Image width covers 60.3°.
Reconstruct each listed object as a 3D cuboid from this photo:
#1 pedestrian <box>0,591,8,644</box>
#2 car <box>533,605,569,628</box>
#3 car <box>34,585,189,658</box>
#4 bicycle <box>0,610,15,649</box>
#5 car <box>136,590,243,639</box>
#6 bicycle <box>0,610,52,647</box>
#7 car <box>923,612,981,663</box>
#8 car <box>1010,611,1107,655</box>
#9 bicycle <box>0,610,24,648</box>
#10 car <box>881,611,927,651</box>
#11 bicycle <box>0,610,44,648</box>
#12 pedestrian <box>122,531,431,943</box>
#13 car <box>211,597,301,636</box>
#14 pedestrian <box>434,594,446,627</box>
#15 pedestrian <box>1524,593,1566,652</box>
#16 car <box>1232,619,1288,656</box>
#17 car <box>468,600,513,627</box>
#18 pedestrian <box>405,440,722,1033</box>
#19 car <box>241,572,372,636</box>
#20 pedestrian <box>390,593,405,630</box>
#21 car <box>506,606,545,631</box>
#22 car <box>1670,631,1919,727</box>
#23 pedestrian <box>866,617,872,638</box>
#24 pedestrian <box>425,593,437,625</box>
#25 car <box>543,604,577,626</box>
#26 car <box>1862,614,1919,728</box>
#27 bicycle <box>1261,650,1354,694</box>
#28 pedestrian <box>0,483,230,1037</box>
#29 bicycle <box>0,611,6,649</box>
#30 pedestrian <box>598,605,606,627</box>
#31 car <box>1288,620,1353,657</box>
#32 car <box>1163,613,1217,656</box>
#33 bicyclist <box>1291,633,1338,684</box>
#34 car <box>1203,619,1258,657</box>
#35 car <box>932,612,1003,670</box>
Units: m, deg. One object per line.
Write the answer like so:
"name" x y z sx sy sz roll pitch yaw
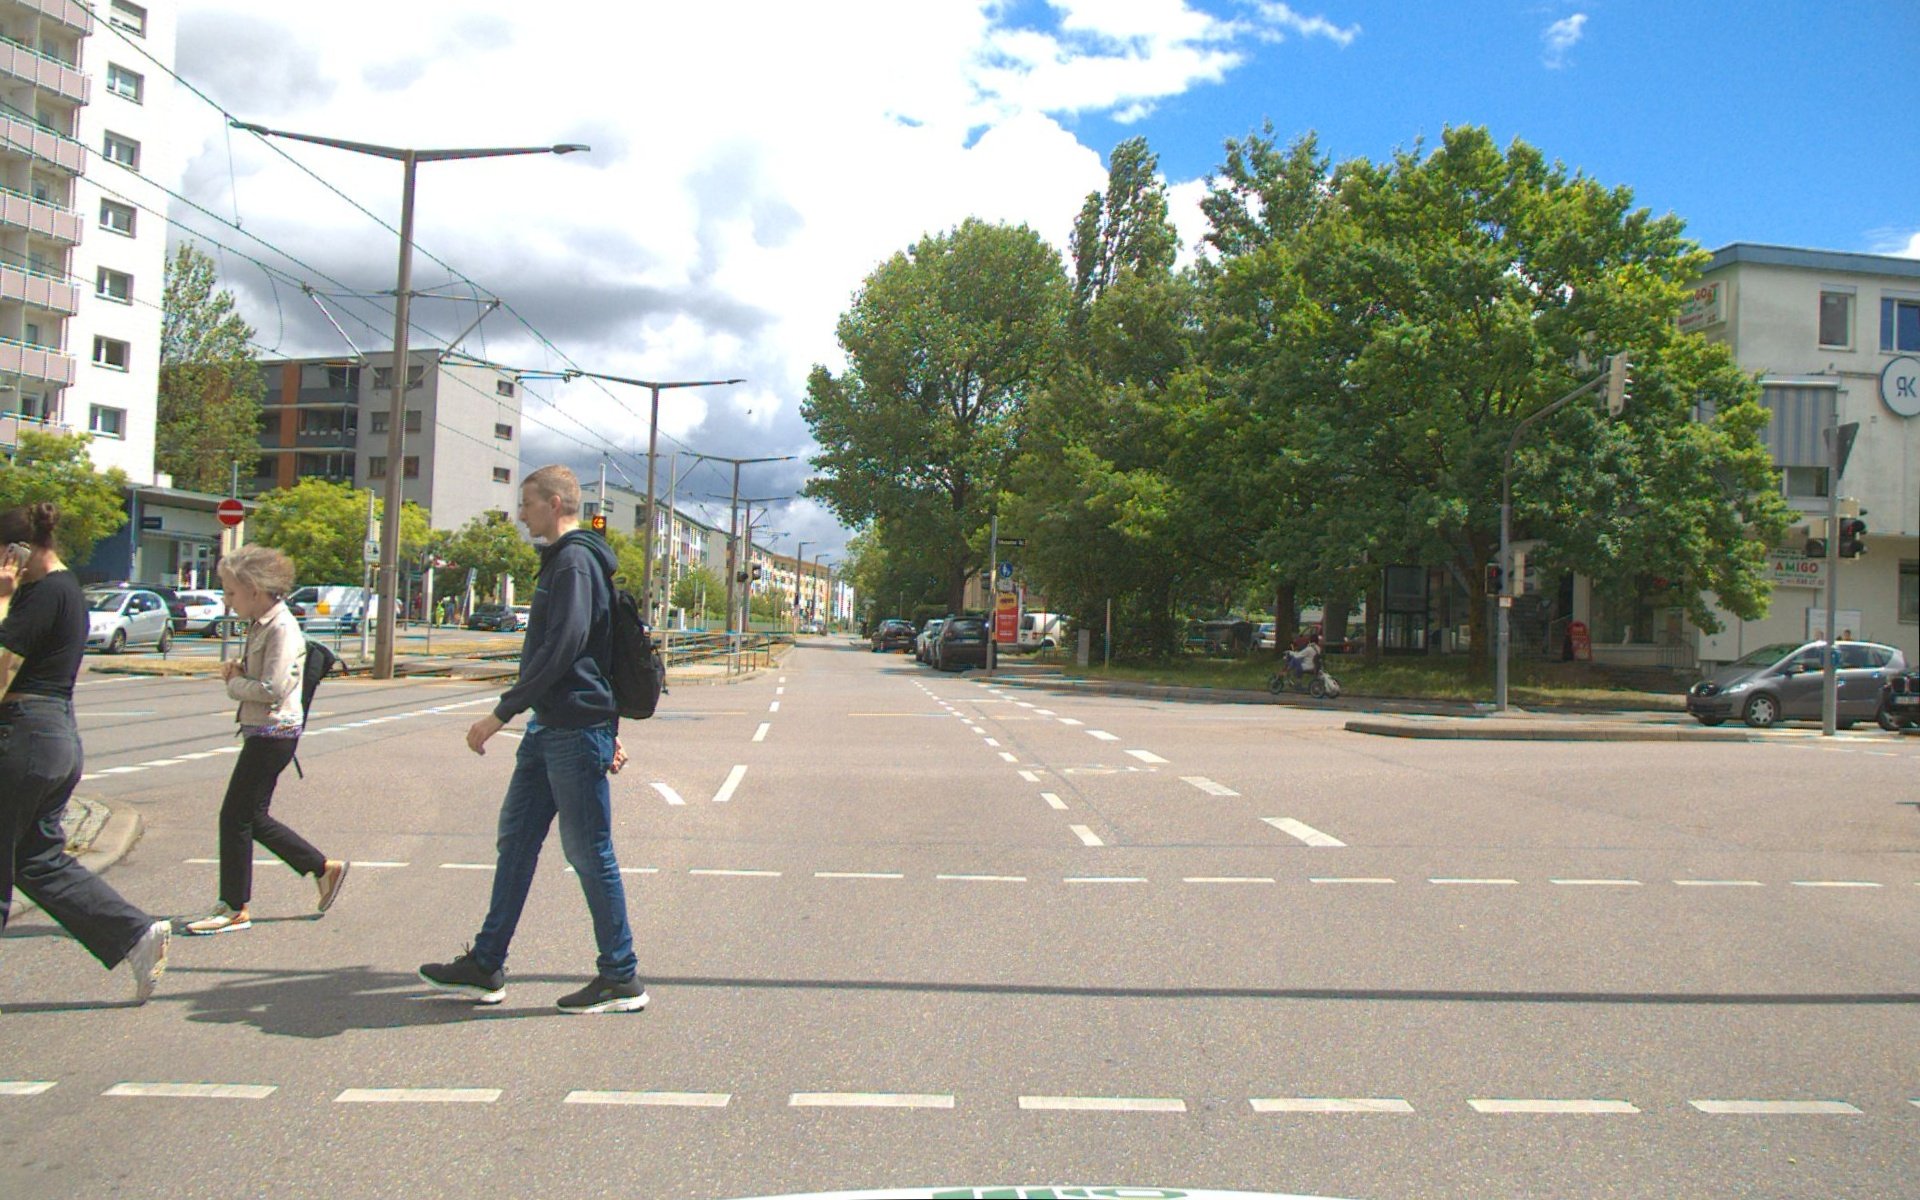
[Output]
"pedestrian" -30.330 0.533 51.763 0.754 1.643 0.695 1 0 -15
"car" -25.810 1.018 104.488 1.728 1.419 3.993 1 0 -7
"car" -21.265 0.522 41.618 1.898 1.723 3.872 1 0 -1
"bicycle" -24.948 0.730 41.669 1.910 0.951 0.494 1 -1 -7
"car" -26.836 0.505 57.546 4.143 1.597 1.949 1 0 43
"bicycle" -24.903 0.741 43.292 1.910 0.951 0.494 1 -1 -7
"car" -0.306 1.334 59.221 1.953 1.713 3.999 1 -1 -1
"car" 4.385 1.477 73.367 3.933 1.855 1.766 1 0 -24
"bicycle" -24.995 0.732 42.179 1.910 0.951 0.494 1 -1 -7
"car" -2.512 1.370 74.450 1.953 1.713 3.999 1 0 -1
"bicycle" -24.838 0.739 42.802 1.910 0.951 0.494 1 -1 -7
"pedestrian" -3.020 0.566 7.376 0.932 1.703 0.871 0 -1 14
"car" -27.234 0.628 63.909 4.147 1.445 1.777 1 0 45
"pedestrian" -27.989 0.557 89.007 0.537 1.746 0.667 1 0 -11
"pedestrian" 16.902 0.638 47.817 0.755 1.672 0.904 2 0 -15
"car" 13.899 1.725 76.742 1.598 1.623 3.997 1 0 -4
"car" -25.716 0.717 90.678 1.728 1.419 3.993 1 0 -7
"pedestrian" -1.390 0.463 5.998 0.947 1.976 0.896 1 0 -5
"car" -27.332 0.139 69.021 2.811 2.522 6.614 1 0 -44
"pedestrian" -27.046 0.567 79.475 0.536 1.746 0.405 1 0 -1
"car" -25.736 1.068 98.075 1.728 1.419 3.993 1 0 -7
"car" 15.199 1.414 29.923 3.831 1.583 1.998 1 0 -6
"pedestrian" -7.391 2.241 134.470 0.469 1.665 0.454 1 0 -2
"pedestrian" -28.764 0.501 89.989 0.537 1.746 0.404 1 0 -11
"car" -26.393 0.988 109.222 1.728 1.419 3.993 1 0 -7
"car" 16.980 1.150 26.152 4.472 1.747 1.997 1 0 -8
"bicycle" 7.319 1.514 34.855 1.778 0.833 0.788 1 0 45
"pedestrian" -3.144 0.518 5.760 0.917 1.796 0.770 1 0 -12
"bicycle" -24.902 0.728 41.194 1.910 0.951 0.494 1 -1 -7
"pedestrian" -26.751 1.183 123.715 0.443 1.665 0.480 1 0 4
"car" 16.801 1.777 77.247 1.698 1.623 3.993 1 0 -8
"car" 10.343 1.542 74.674 1.598 1.842 4.029 1 0 -4
"bicyclist" 7.461 1.231 34.793 0.788 1.040 0.626 2 -1 -44
"car" 12.312 1.715 75.464 1.598 1.600 4.029 1 0 -4
"car" 0.198 1.266 51.783 2.108 1.713 3.999 1 -1 -1
